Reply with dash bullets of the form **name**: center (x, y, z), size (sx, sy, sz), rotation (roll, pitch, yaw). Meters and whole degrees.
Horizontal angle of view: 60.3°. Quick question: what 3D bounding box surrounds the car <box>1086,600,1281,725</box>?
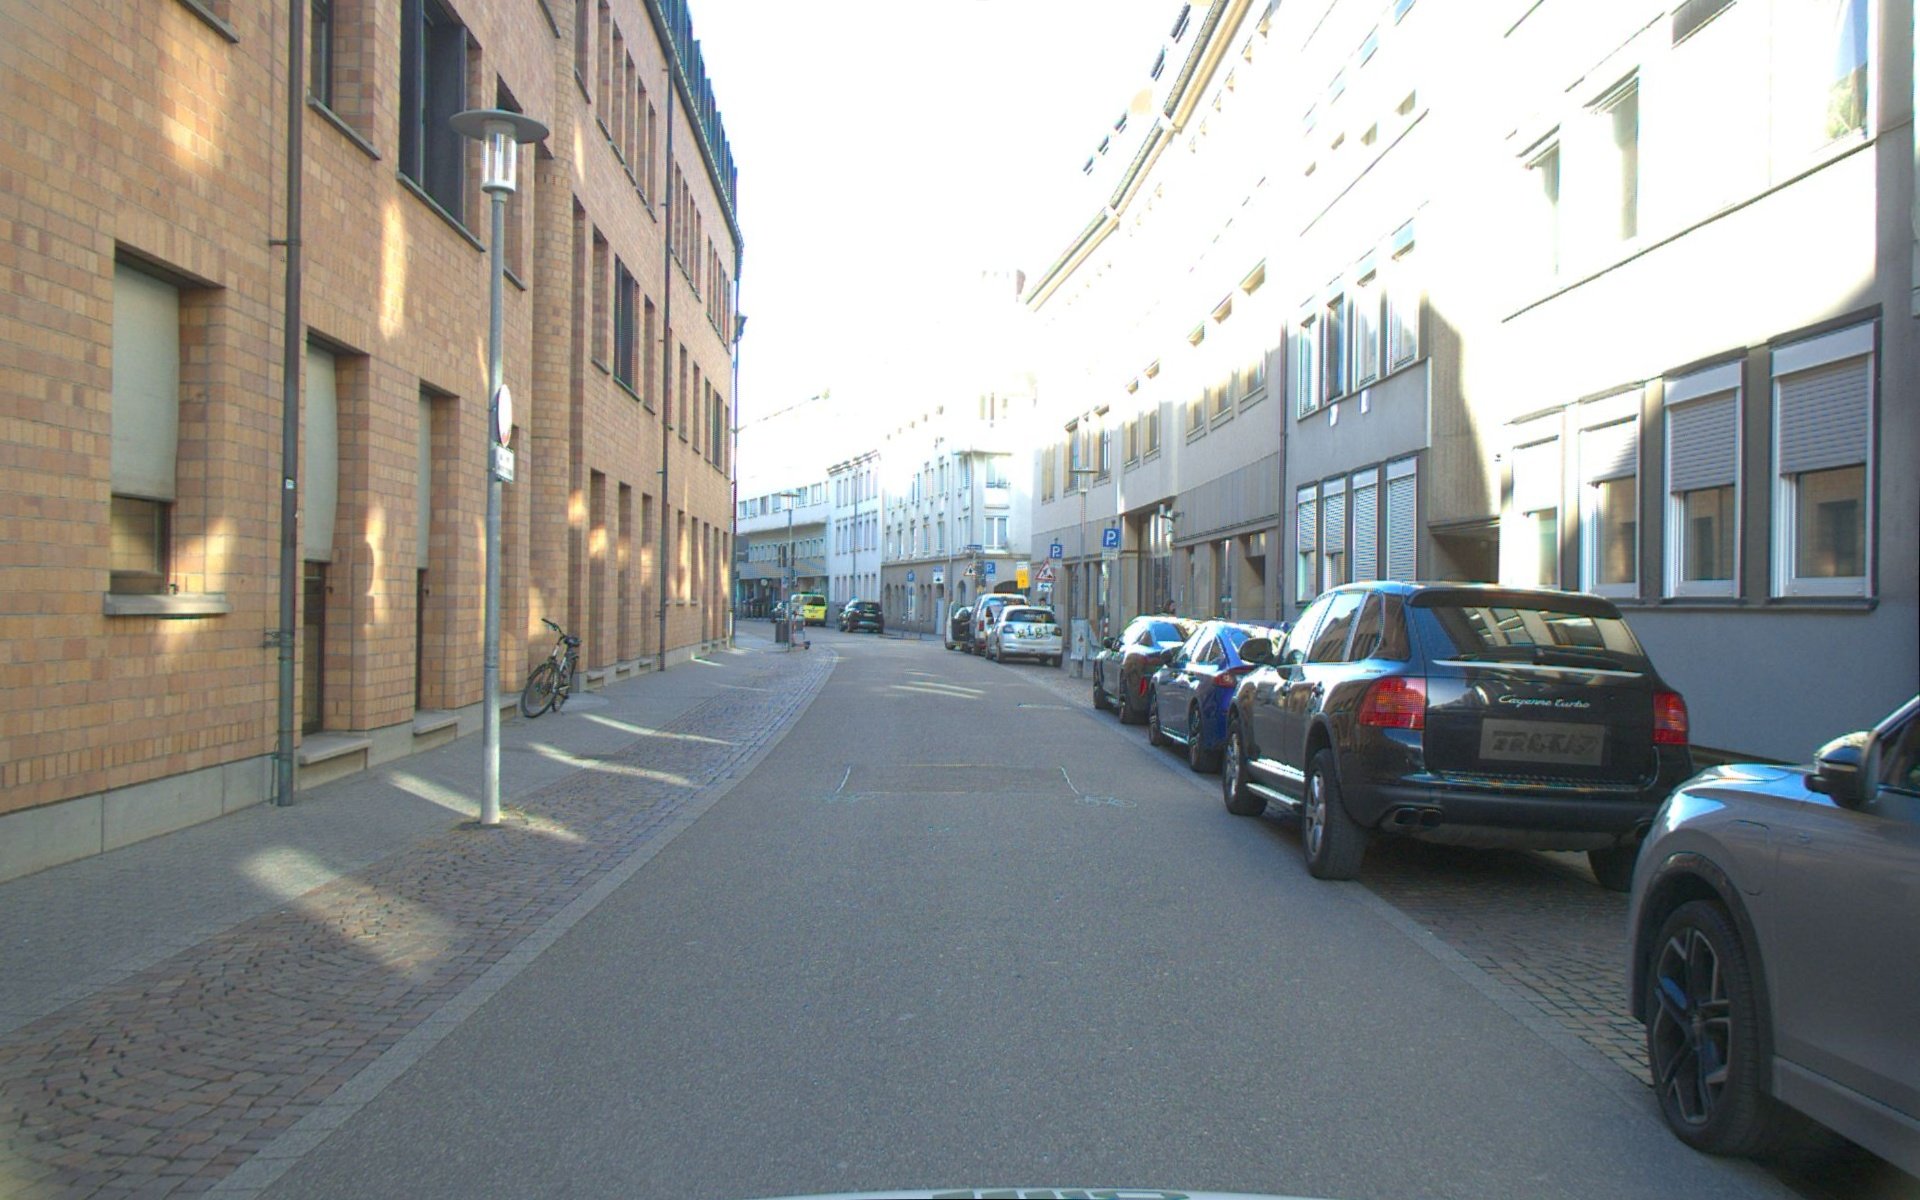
- **car**: center (2.961, 0.774, 23.055), size (1.856, 1.478, 5.224), rotation (2, 0, -1)

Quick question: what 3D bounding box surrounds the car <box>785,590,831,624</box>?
- **car**: center (-9.390, 0.425, 101.866), size (2.020, 2.049, 4.154), rotation (1, 0, -18)

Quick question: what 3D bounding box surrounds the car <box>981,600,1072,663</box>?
- **car**: center (1.722, 0.813, 44.120), size (1.805, 1.504, 4.163), rotation (3, 0, -6)

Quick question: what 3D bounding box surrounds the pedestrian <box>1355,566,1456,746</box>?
- **pedestrian**: center (4.483, 0.551, 16.674), size (0.772, 1.751, 0.746), rotation (-1, 0, -1)

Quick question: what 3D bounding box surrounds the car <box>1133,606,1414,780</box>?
- **car**: center (3.028, 0.833, 17.022), size (1.771, 1.437, 4.788), rotation (3, 0, -2)

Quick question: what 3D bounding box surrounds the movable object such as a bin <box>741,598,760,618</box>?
- **movable object such as a bin**: center (-16.123, 0.589, 127.196), size (1.115, 1.505, 1.728), rotation (1, 0, -21)

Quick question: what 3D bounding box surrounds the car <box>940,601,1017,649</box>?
- **car**: center (0.592, 0.827, 56.307), size (1.854, 1.545, 4.053), rotation (1, 0, -10)

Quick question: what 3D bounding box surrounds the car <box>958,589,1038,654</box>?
- **car**: center (1.096, 0.639, 50.389), size (1.795, 1.822, 5.207), rotation (2, 0, -6)

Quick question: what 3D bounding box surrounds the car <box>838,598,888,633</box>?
- **car**: center (-5.070, 0.780, 85.859), size (1.934, 1.721, 4.087), rotation (2, 0, -13)

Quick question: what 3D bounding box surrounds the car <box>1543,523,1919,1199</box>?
- **car**: center (3.091, 0.743, 3.437), size (1.953, 1.731, 4.842), rotation (3, 0, -1)

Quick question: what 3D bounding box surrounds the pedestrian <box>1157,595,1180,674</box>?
- **pedestrian**: center (4.494, 0.738, 35.678), size (0.470, 1.683, 0.539), rotation (0, 0, 10)

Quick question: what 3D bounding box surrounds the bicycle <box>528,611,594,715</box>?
- **bicycle**: center (-5.015, 0.770, 20.862), size (0.620, 1.182, 1.800), rotation (4, 0, -10)

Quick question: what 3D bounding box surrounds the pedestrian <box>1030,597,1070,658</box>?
- **pedestrian**: center (2.735, 0.841, 50.397), size (1.022, 1.833, 1.197), rotation (1, -1, -6)

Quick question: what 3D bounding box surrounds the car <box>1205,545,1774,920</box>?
- **car**: center (3.039, 0.664, 10.840), size (2.060, 1.817, 5.051), rotation (2, 0, 0)

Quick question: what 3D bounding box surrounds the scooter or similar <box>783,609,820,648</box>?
- **scooter or similar**: center (-5.177, 0.929, 54.015), size (0.683, 1.239, 1.357), rotation (0, 0, 22)
